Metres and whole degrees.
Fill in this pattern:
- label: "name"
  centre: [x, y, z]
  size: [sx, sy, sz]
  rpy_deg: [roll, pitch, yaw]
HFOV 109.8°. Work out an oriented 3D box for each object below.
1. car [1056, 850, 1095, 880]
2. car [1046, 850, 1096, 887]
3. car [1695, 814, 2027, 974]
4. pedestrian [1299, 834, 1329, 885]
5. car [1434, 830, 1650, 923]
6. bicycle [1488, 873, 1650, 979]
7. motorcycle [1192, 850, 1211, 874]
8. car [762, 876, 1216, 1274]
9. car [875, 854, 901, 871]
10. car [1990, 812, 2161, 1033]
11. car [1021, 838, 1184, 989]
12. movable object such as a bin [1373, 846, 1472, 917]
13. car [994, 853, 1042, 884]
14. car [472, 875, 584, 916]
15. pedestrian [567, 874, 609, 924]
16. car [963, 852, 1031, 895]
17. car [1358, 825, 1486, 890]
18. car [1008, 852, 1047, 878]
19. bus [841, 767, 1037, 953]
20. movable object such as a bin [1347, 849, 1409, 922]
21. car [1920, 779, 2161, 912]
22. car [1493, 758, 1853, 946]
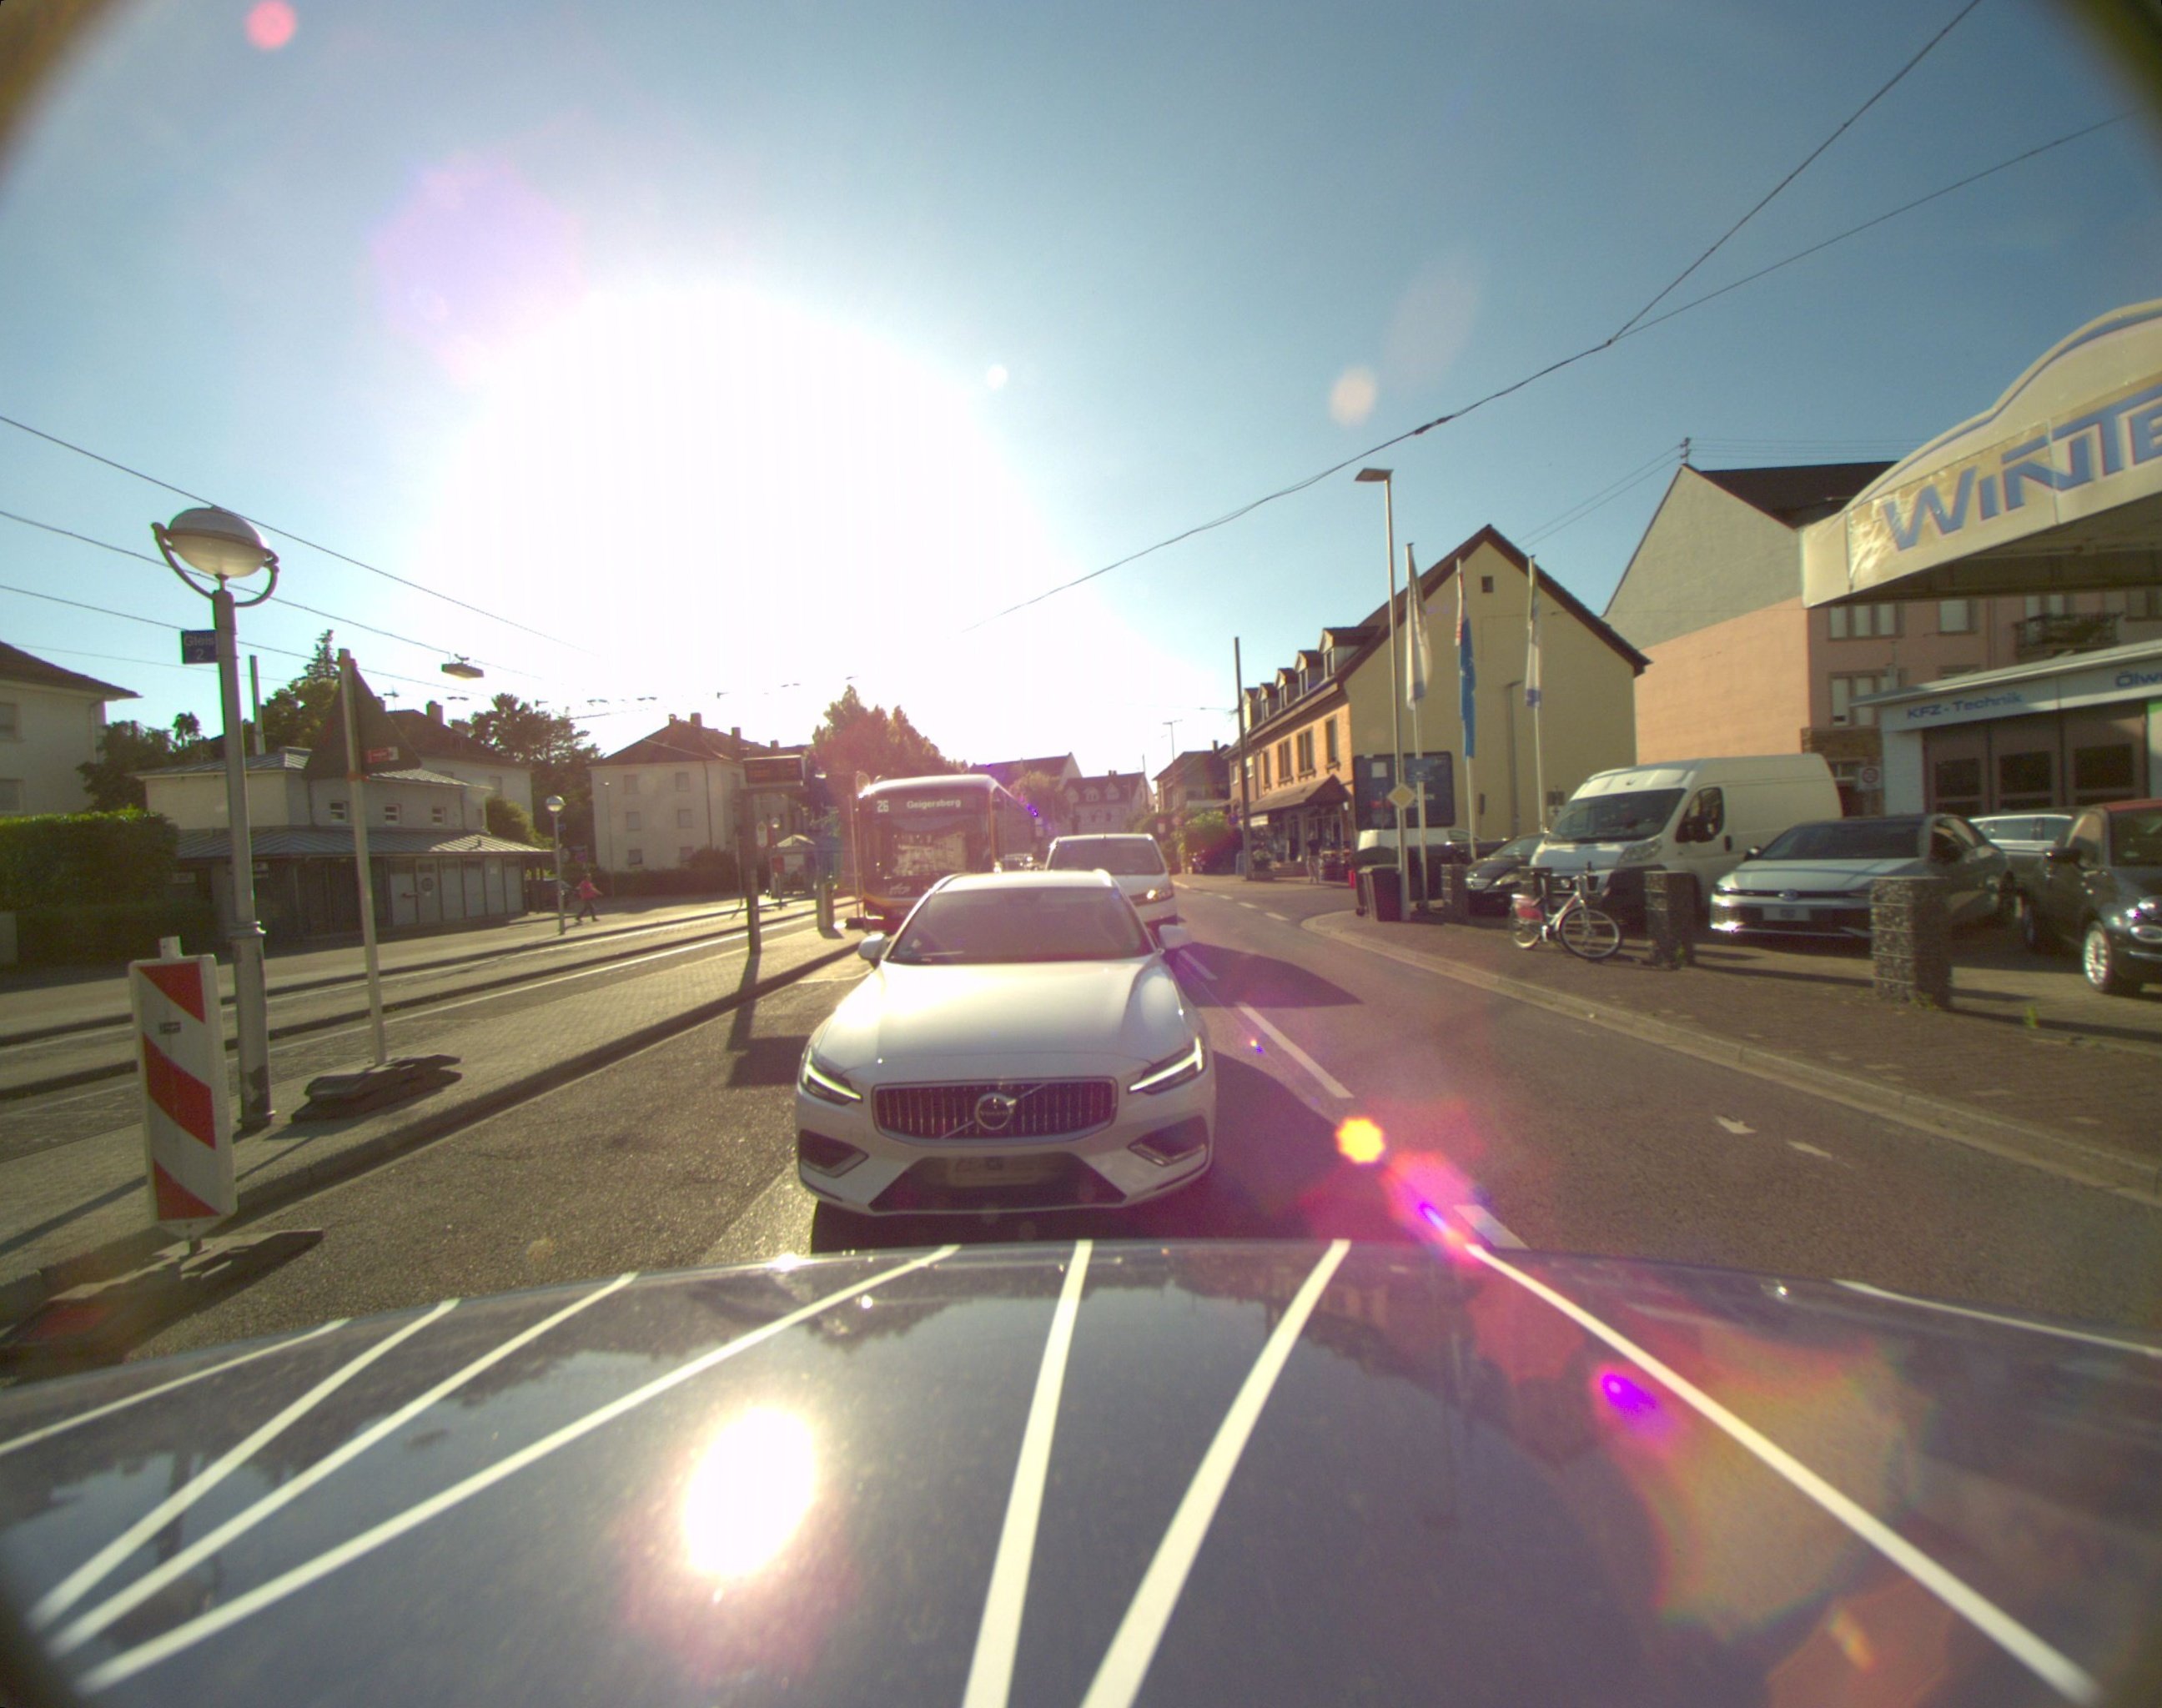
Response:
- label: "car"
  centre: [-0.247, 0.567, 41.499]
  size: [1.969, 1.450, 4.824]
  rpy_deg: [-2, 0, 1]
- label: "car"
  centre: [-0.387, 0.583, 33.251]
  size: [1.969, 1.450, 4.824]
  rpy_deg: [-2, 0, 1]
- label: "car"
  centre: [9.493, 0.358, 9.201]
  size: [4.036, 1.488, 1.739]
  rpy_deg: [-3, 1, -28]
- label: "pedestrian"
  centre: [8.656, 0.205, 28.267]
  size: [0.822, 1.842, 0.767]
  rpy_deg: [-2, 1, -1]
- label: "car"
  centre: [8.971, 0.373, 14.737]
  size: [4.036, 1.469, 1.739]
  rpy_deg: [-3, 1, -28]
- label: "bicycle"
  centre: [5.885, 0.813, 9.304]
  size: [0.725, 1.080, 1.791]
  rpy_deg: [-3, 1, -3]
- label: "motorcycle"
  centre: [6.358, 0.418, 40.110]
  size: [0.708, 1.210, 2.186]
  rpy_deg: [-2, 1, 3]
- label: "car"
  centre: [-0.350, 0.981, 5.247]
  size: [1.821, 1.446, 4.217]
  rpy_deg: [-2, 0, 1]
- label: "car"
  centre: [-23.253, 1.021, 91.764]
  size: [1.998, 1.853, 3.999]
  rpy_deg: [-2, 1, 1]
- label: "car"
  centre: [9.079, 0.411, 6.155]
  size: [1.590, 1.488, 3.442]
  rpy_deg: [-2, 1, 40]
- label: "car"
  centre: [0.306, 0.733, 12.000]
  size: [1.969, 1.816, 5.033]
  rpy_deg: [-2, 0, 1]
- label: "movable object such as a bin"
  centre: [7.597, 0.578, 16.904]
  size: [1.798, 1.456, 1.046]
  rpy_deg: [-3, 1, -25]
- label: "car"
  centre: [-3.224, 0.706, 39.880]
  size: [1.969, 1.450, 4.824]
  rpy_deg: [-2, 0, 1]
- label: "car"
  centre: [-27.683, 2.047, 38.131]
  size: [4.052, 1.663, 2.000]
  rpy_deg: [-4, 1, 2]
- label: "pedestrian"
  centre: [-17.433, 1.575, 26.905]
  size: [0.841, 1.708, 0.825]
  rpy_deg: [-2, 1, 4]
- label: "car"
  centre: [-3.147, 0.705, 29.491]
  size: [1.969, 1.450, 4.824]
  rpy_deg: [-2, 0, 1]
- label: "car"
  centre: [11.569, 0.097, 25.912]
  size: [3.672, 2.002, 1.451]
  rpy_deg: [-2, 1, -3]
- label: "car"
  centre: [-3.266, 0.632, 47.294]
  size: [1.969, 1.450, 4.824]
  rpy_deg: [-2, 0, 1]
- label: "bus"
  centre: [-2.915, 0.094, 19.824]
  size: [2.748, 3.284, 12.031]
  rpy_deg: [-2, 0, 0]
- label: "movable object such as a bin"
  centre: [6.240, 0.641, 15.941]
  size: [1.045, 1.456, 0.797]
  rpy_deg: [-2, 1, 32]
- label: "car"
  centre: [16.484, -0.174, 11.978]
  size: [1.742, 1.933, 4.257]
  rpy_deg: [-3, 1, -1]
- label: "car"
  centre: [9.147, -0.135, 11.751]
  size: [4.997, 2.440, 2.111]
  rpy_deg: [-3, 1, -22]
